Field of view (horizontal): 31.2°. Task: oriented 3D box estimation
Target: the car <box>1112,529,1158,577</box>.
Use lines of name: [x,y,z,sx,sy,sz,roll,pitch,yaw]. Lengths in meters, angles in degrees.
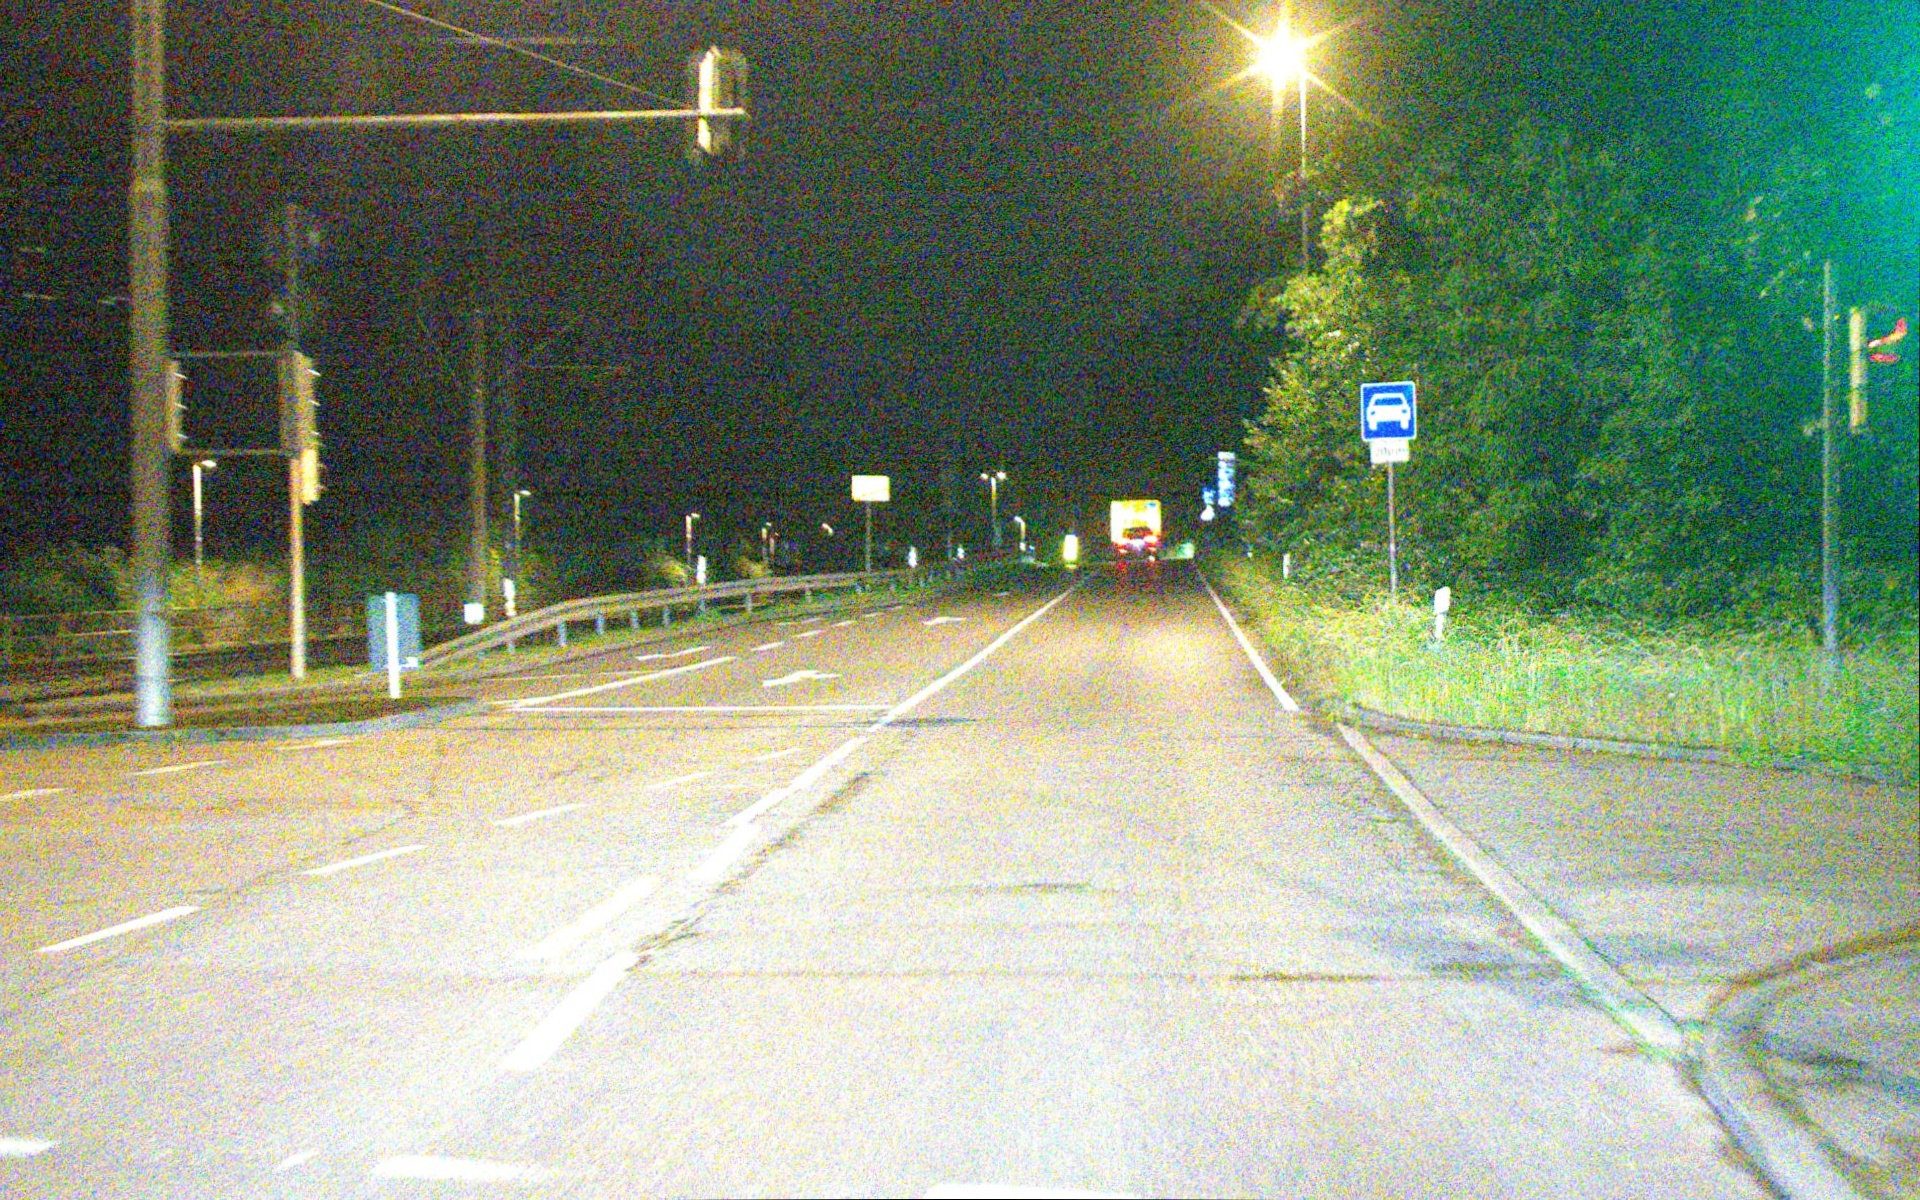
car: [7.826,-2.084,154.029,1.994,2.007,3.999,1,-1,3]
